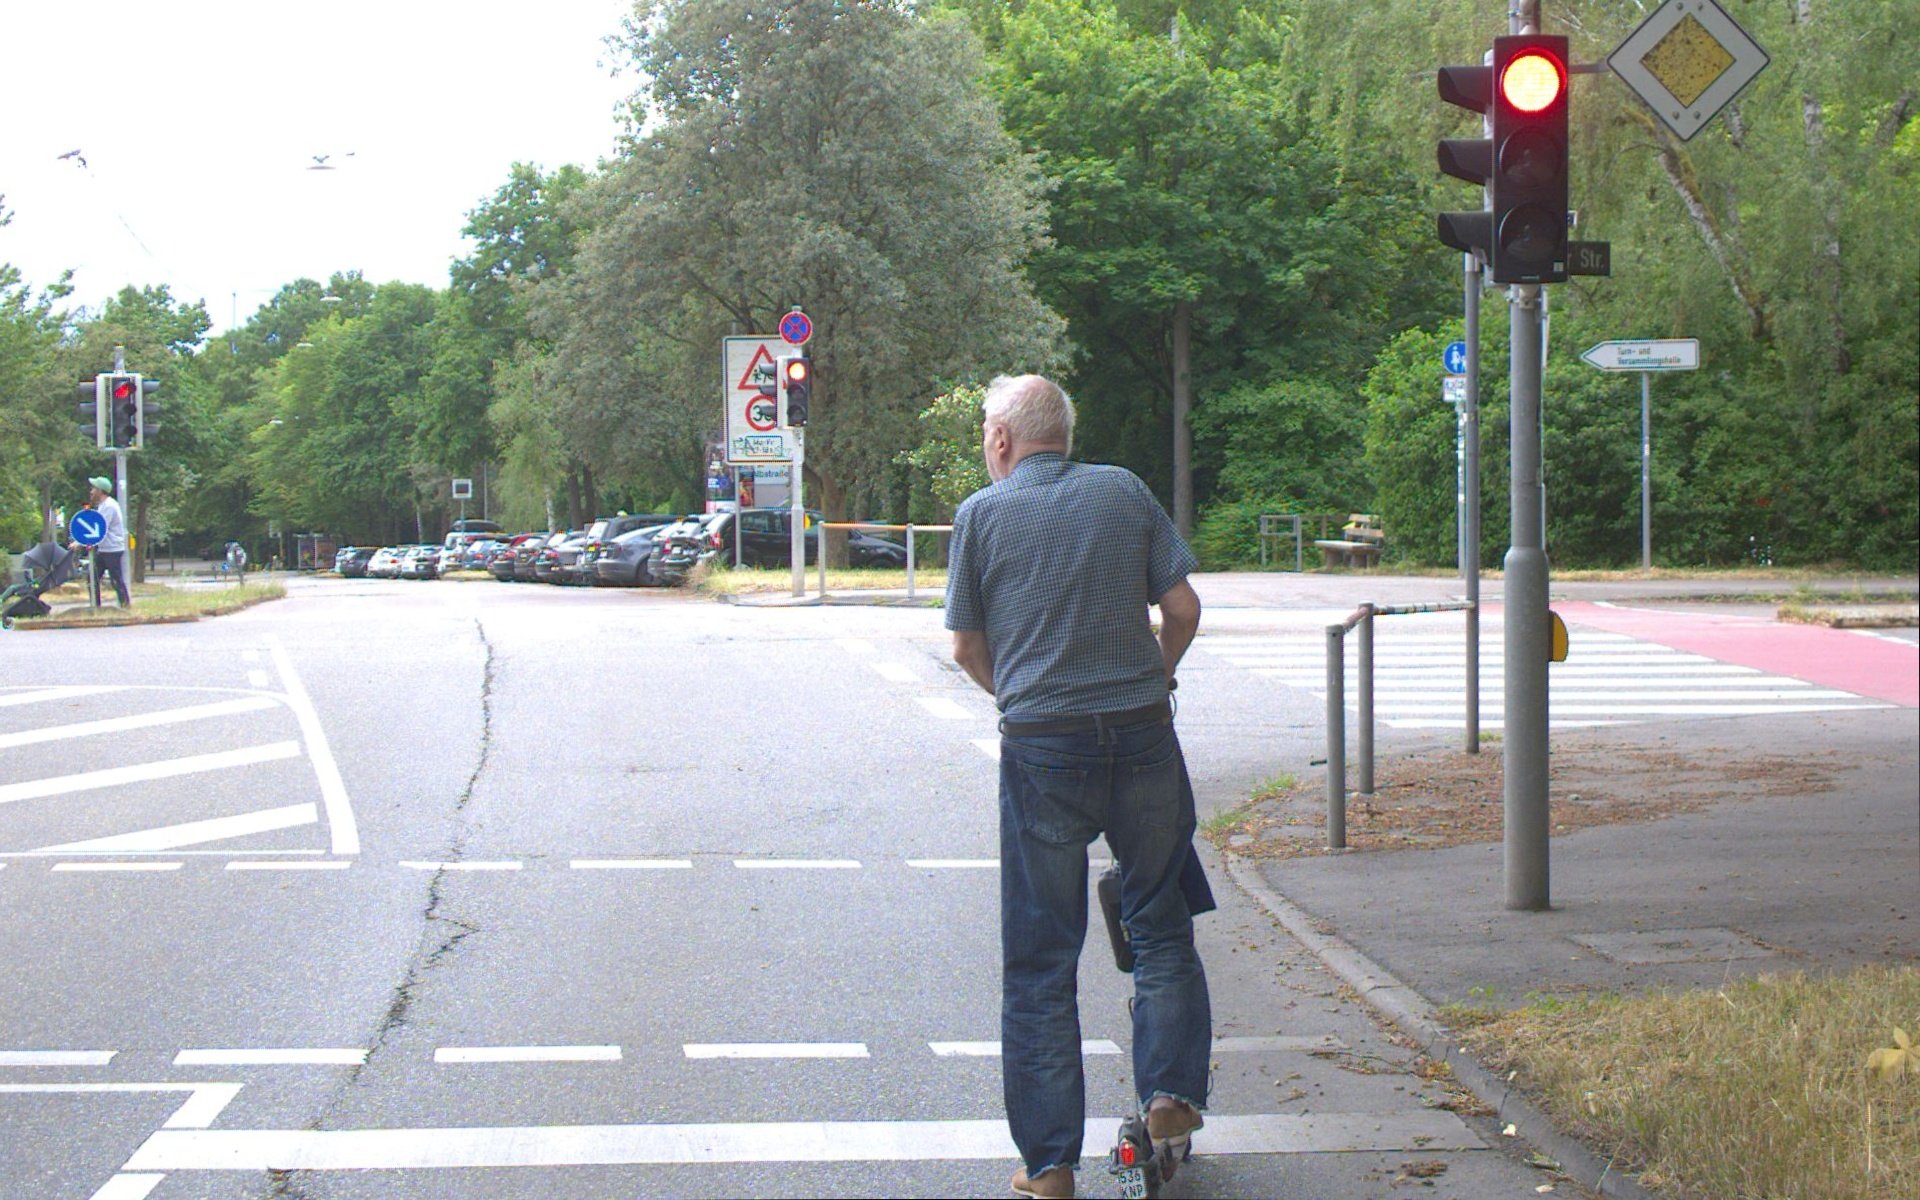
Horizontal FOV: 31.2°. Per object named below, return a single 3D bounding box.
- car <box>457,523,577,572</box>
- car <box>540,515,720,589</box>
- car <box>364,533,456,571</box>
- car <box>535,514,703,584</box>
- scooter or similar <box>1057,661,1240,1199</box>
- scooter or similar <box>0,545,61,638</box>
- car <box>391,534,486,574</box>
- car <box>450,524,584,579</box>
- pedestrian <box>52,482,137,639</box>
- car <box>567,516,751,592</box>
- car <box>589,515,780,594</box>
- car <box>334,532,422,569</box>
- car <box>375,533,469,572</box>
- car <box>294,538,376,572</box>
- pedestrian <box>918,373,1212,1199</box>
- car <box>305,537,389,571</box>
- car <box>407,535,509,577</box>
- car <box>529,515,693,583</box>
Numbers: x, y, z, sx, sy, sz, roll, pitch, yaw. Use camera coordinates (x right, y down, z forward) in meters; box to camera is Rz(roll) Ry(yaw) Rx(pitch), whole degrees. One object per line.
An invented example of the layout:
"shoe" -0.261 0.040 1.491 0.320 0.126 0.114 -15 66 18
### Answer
"car" -15.695 -1.863 121.886 3.840 1.605 1.729 -3 2 -23
"car" -7.808 -1.151 81.331 3.840 1.605 1.729 -3 2 -23
"car" -25.382 -2.229 158.768 3.840 1.605 1.729 -3 2 -23
"car" -8.594 -1.286 86.644 3.840 1.605 1.729 -3 2 -23
"scooter or similar" 0.421 0.747 7.392 0.282 1.174 1.177 -1 1 8
"scooter or similar" -11.315 -0.098 40.892 1.107 1.077 0.578 -2 1 -22
"car" -23.366 -2.069 154.066 3.840 1.605 1.729 -3 2 -23
"car" -14.048 -1.548 108.920 3.840 1.605 1.729 -3 2 -23
"pedestrian" -10.392 -0.480 41.261 0.884 1.856 0.574 -2 1 -21
"car" -6.945 -1.071 79.297 3.840 1.605 1.729 -3 2 -23
"car" -6.144 -1.018 76.755 3.841 1.605 1.729 -3 2 -24
"car" -28.053 -2.399 165.834 3.840 1.605 1.729 -3 2 -23
"car" -24.440 -2.168 156.198 3.840 1.605 1.729 -3 2 -23
"car" -32.341 -2.325 177.968 3.840 1.605 1.729 -3 2 -23
"pedestrian" 0.239 0.420 7.564 0.573 1.807 0.420 -1 1 8
"car" -31.319 -2.352 175.630 3.840 1.605 1.729 -3 2 -23
"car" -20.844 -1.841 142.763 3.840 1.605 1.729 -3 2 -23
"car" -9.034 -1.332 89.056 3.840 1.605 1.729 -3 2 -23
